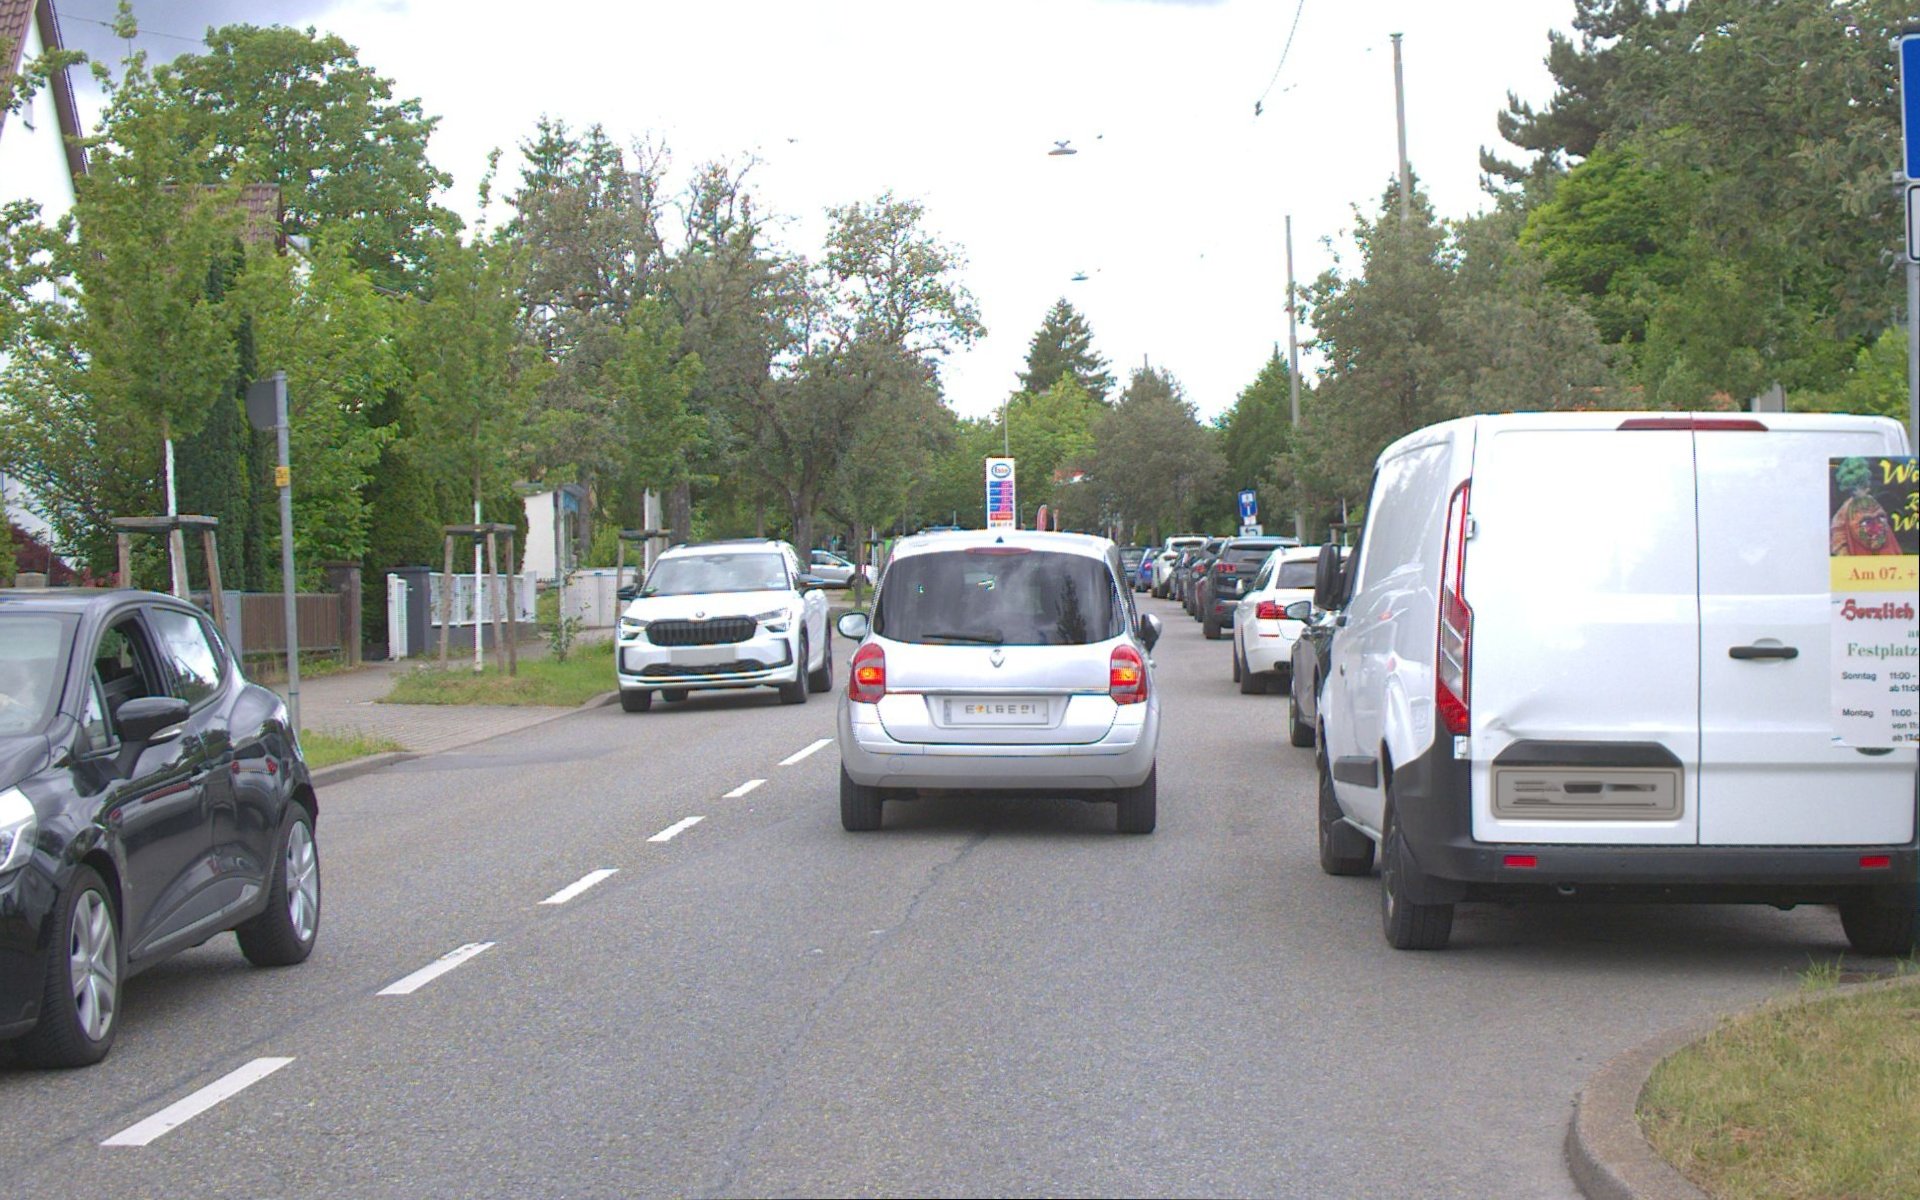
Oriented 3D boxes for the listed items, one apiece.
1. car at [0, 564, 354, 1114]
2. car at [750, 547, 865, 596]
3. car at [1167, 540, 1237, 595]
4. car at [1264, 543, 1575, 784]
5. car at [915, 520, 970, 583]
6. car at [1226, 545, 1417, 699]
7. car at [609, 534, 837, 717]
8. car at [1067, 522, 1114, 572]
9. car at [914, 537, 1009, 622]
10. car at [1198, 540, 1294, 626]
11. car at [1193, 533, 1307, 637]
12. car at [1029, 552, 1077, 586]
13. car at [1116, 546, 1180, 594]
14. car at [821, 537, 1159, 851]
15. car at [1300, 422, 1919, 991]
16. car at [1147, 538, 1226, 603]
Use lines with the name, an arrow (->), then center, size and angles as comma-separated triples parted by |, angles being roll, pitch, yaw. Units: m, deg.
car -> -3.299, 0.667, 11.200 | 1.616, 1.467, 4.000 | -3, 1, 4
car -> -5.701, -1.082, 128.875 | 4.087, 1.700, 1.747 | -2, 1, 5
car -> 6.441, -0.876, 91.757 | 1.558, 1.438, 3.507 | 0, 1, -1
car -> 3.074, 0.365, 23.711 | 1.665, 1.511, 4.221 | 0, 1, 1
car -> -0.731, -2.092, 148.870 | 2.073, 2.574, 5.300 | -3, 1, 2
car -> 3.637, 0.175, 35.169 | 1.693, 1.448, 4.404 | 0, 1, 3
car -> -2.373, 0.213, 35.448 | 1.814, 1.687, 4.465 | -3, 1, 2
car -> 7.737, -3.137, 204.385 | 2.281, 2.901, 5.280 | 0, 1, -3
car -> 0.057, -0.470, 75.320 | 1.795, 1.746, 4.298 | -2, 1, 3
car -> 6.088, -0.390, 73.456 | 1.830, 1.706, 4.549 | -2, 1, 3
car -> 4.630, -0.263, 55.318 | 1.688, 1.603, 4.109 | 0, 1, 3
car -> 4.288, -1.451, 159.174 | 1.695, 1.501, 3.973 | -1, 1, -6
car -> 6.129, -0.978, 112.435 | 1.627, 1.447, 3.876 | -4, 1, -3
car -> 0.226, 0.447, 18.950 | 1.679, 1.554, 3.511 | 1, 1, 3
car -> 2.449, 0.326, 14.112 | 1.775, 1.937, 4.788 | 0, 1, 2
car -> 6.374, -0.841, 97.159 | 1.799, 1.772, 4.705 | 0, 1, -1
